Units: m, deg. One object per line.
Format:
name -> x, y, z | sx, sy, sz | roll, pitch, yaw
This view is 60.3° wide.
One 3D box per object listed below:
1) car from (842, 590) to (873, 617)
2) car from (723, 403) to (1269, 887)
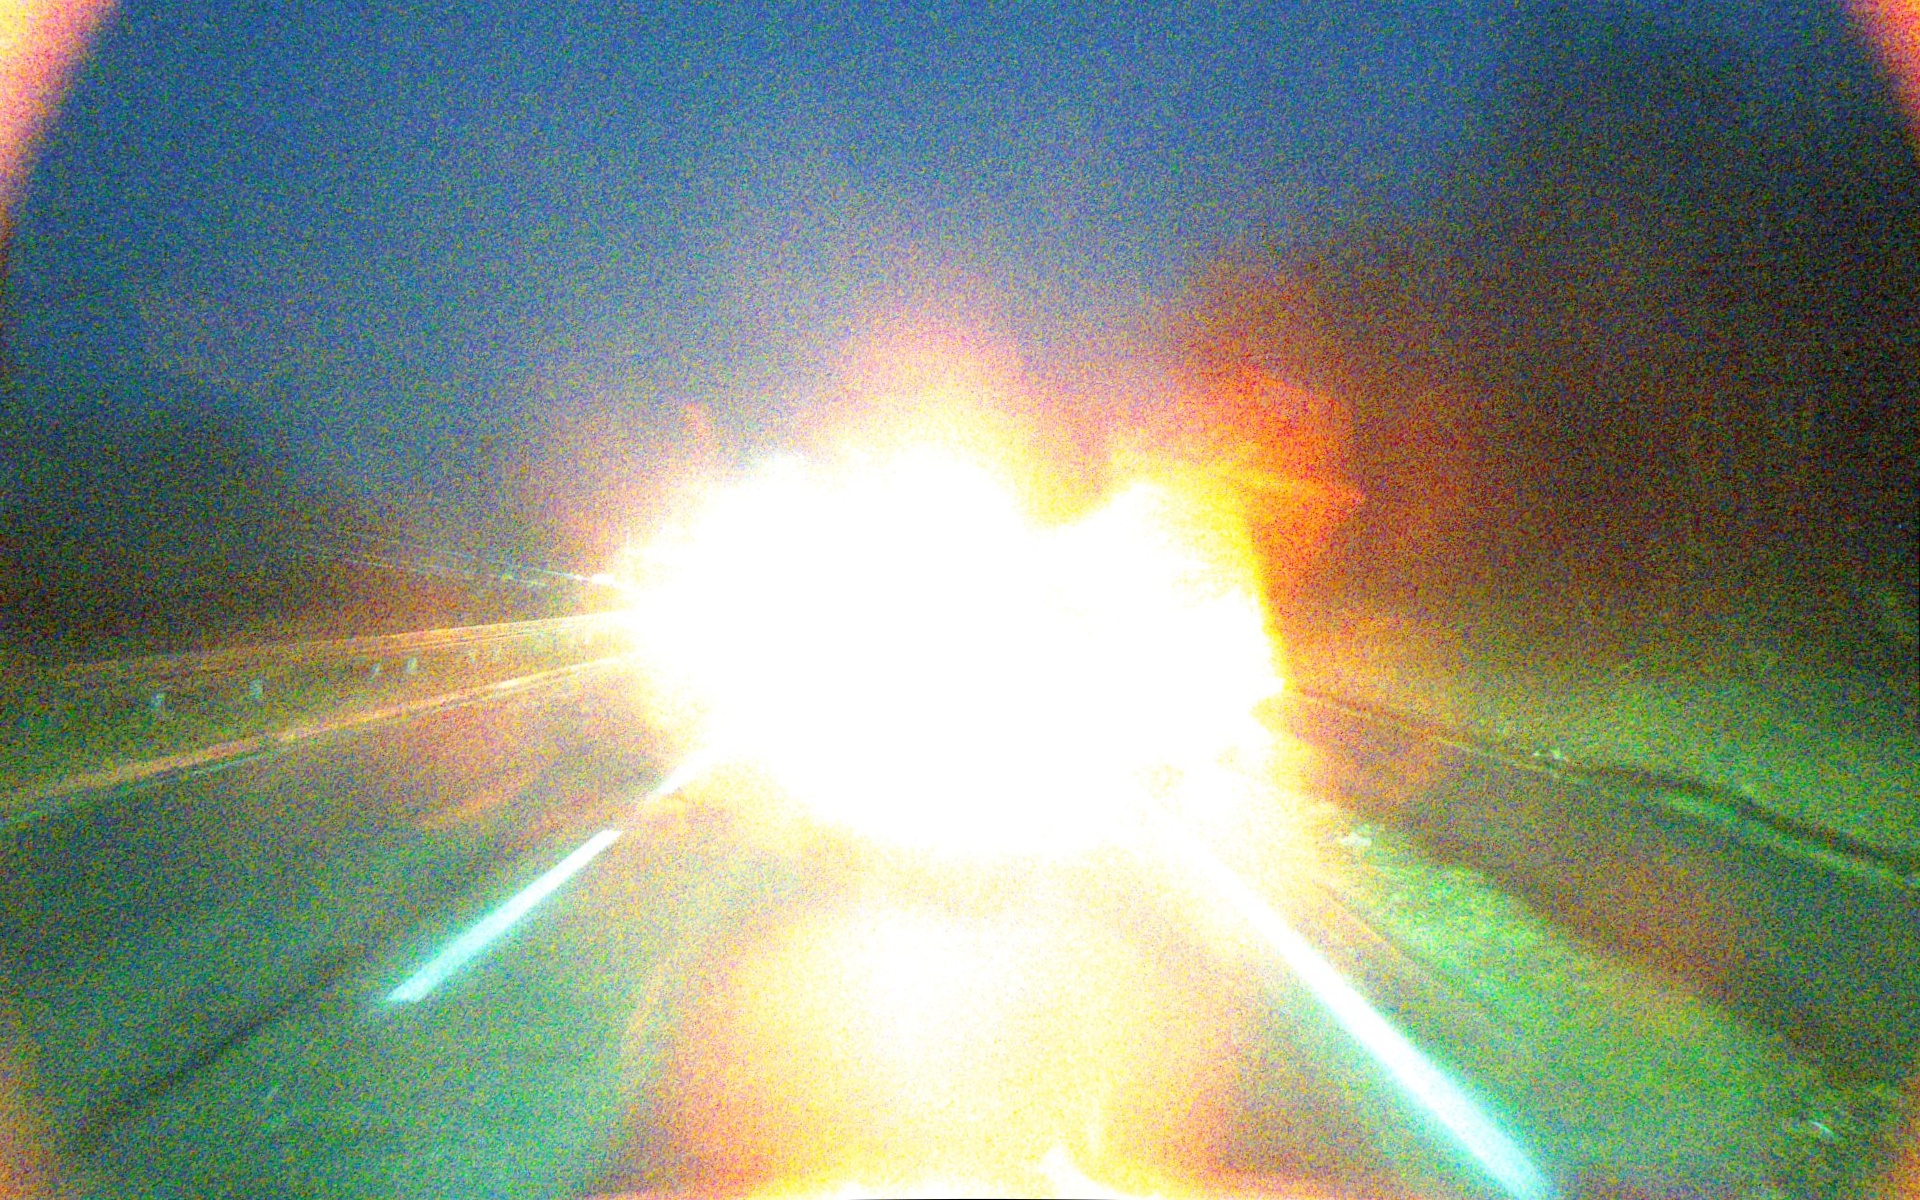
car -> -6.110, 0.208, 98.977 | 1.512, 1.537, 3.880 | 1, 0, 1
car -> 0.126, 0.197, 11.180 | 2.660, 2.348, 6.099 | 1, 0, -1
